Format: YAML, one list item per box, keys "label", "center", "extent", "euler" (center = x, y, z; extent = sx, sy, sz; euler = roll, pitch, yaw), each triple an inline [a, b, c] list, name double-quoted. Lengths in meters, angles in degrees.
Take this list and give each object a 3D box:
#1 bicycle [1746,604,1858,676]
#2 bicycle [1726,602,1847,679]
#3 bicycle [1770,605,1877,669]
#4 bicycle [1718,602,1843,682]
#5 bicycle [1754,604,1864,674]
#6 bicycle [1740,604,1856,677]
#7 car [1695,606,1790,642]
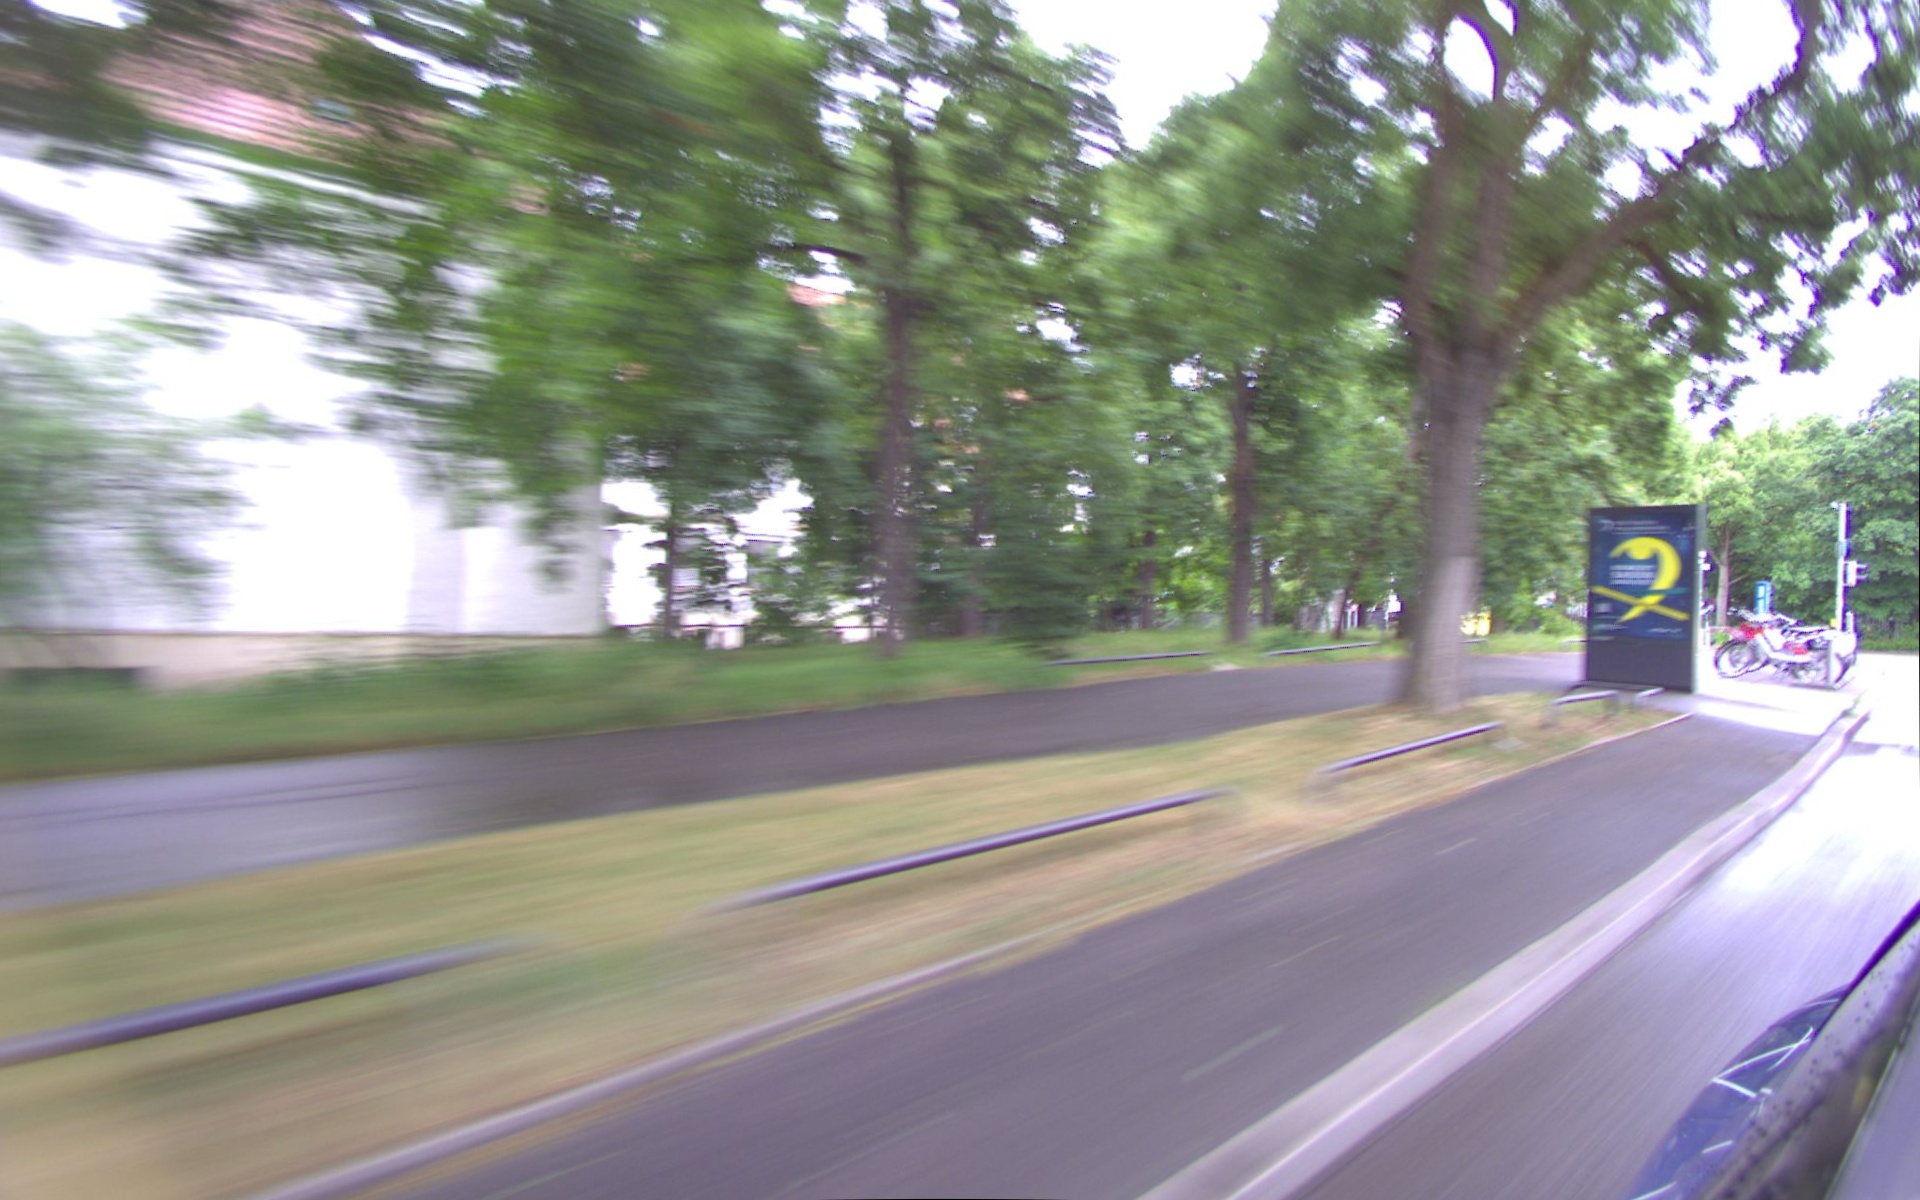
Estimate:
- label: "bicycle"
  center: [15.449, 0.710, 18.584]
  extent: [1.486, 1.145, 0.548]
  euler: [6, 4, 44]
- label: "bicycle"
  center: [14.085, 0.658, 17.272]
  extent: [1.486, 1.145, 0.548]
  euler: [6, 4, 44]
- label: "bicycle"
  center: [17.890, 0.745, 20.993]
  extent: [1.597, 1.145, 0.548]
  euler: [6, 4, 44]
- label: "bicycle"
  center: [13.423, 0.659, 16.577]
  extent: [1.486, 1.145, 0.548]
  euler: [6, 4, 44]
- label: "bicycle"
  center: [15.993, 0.716, 19.084]
  extent: [1.486, 1.145, 0.548]
  euler: [6, 4, 44]
- label: "bicycle"
  center: [14.918, 0.693, 18.043]
  extent: [1.486, 1.145, 0.548]
  euler: [6, 4, 44]
- label: "car"
  center: [46.527, 1.418, 60.240]
  extent: [3.929, 2.039, 1.997]
  euler: [1, -1, 5]
